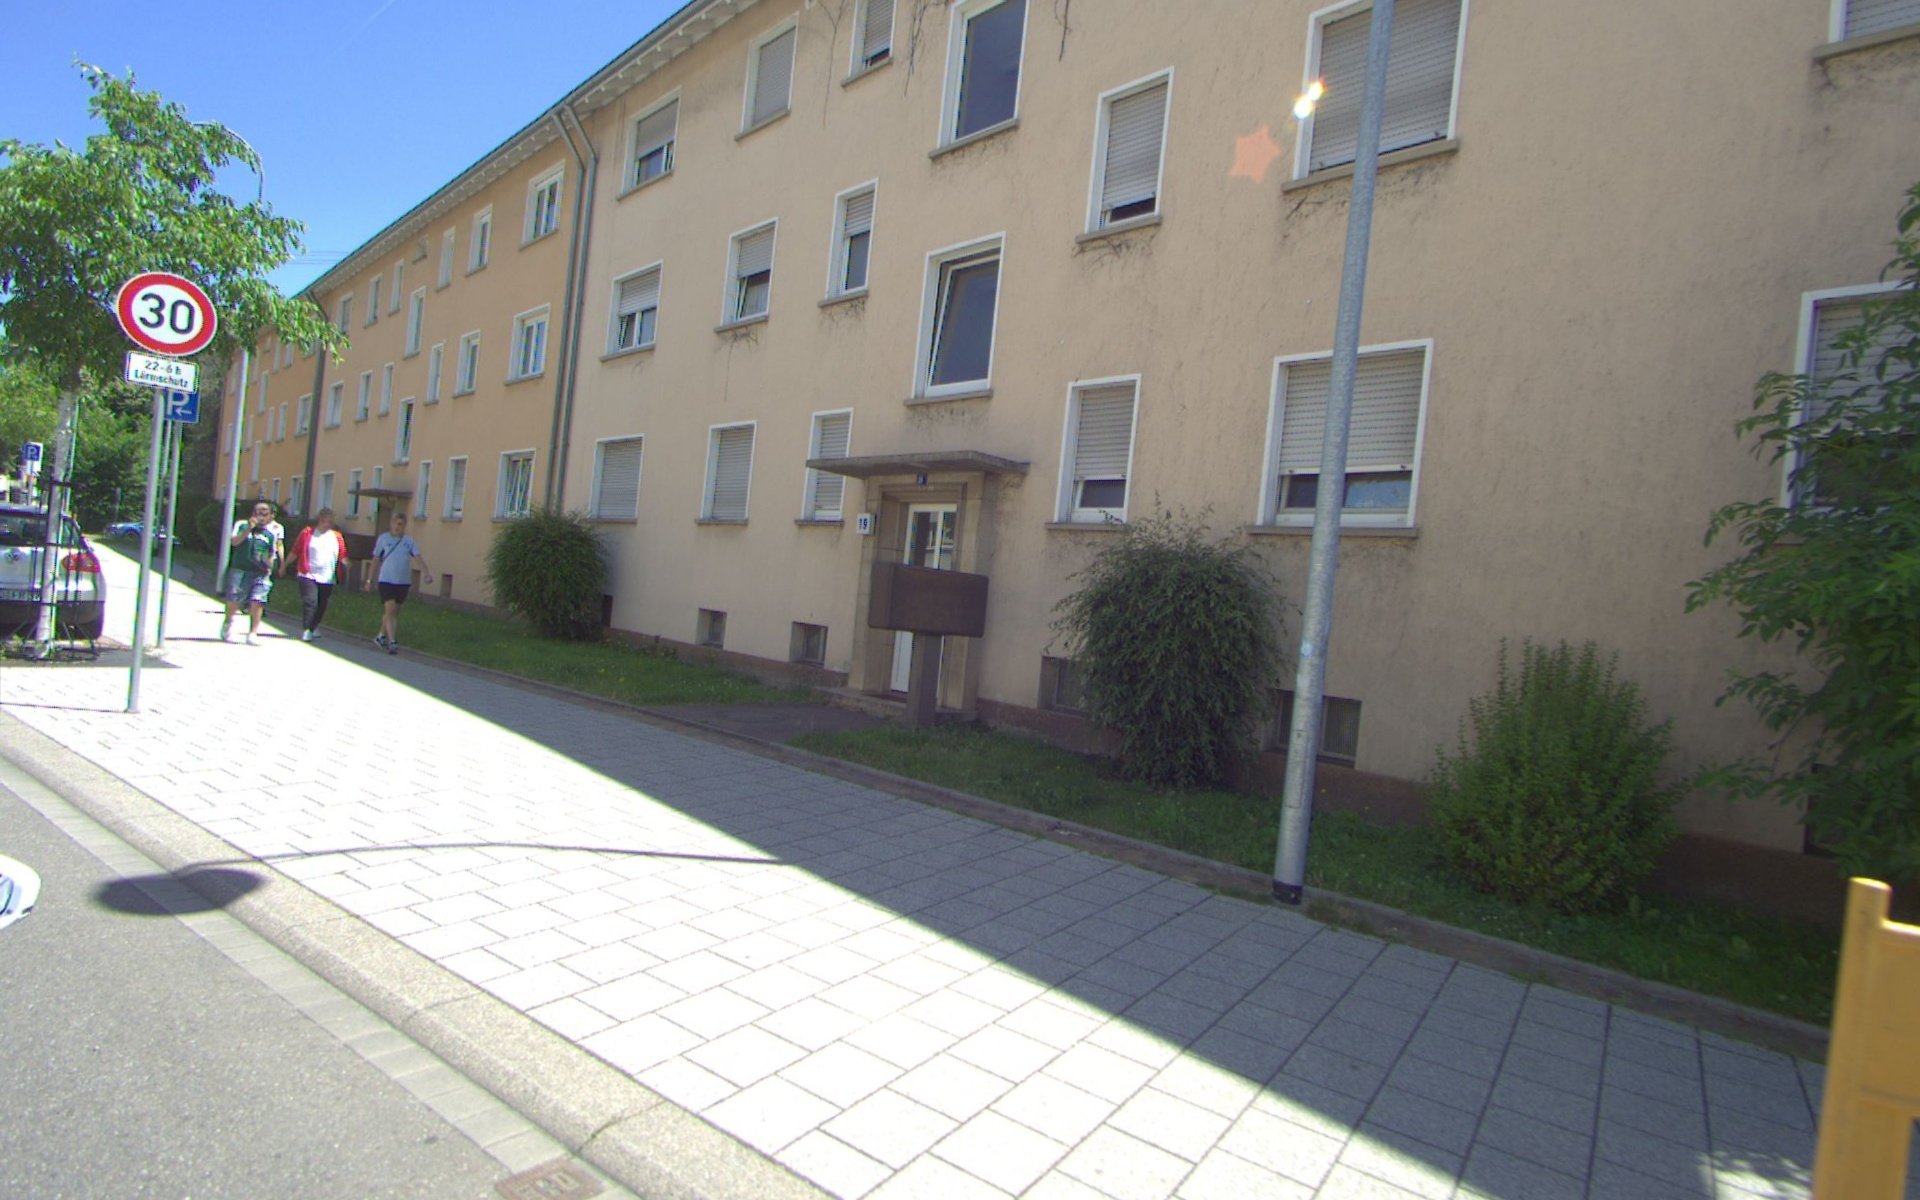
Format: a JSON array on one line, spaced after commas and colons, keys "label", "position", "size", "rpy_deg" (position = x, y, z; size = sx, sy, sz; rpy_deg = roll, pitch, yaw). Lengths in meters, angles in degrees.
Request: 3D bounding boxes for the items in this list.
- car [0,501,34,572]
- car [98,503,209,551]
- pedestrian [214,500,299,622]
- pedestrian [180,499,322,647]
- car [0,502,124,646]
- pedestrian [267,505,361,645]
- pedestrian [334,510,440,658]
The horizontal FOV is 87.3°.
[{"label": "car", "position": [-23.181, -1.621, 23.677], "size": [1.827, 1.524, 4.999], "rpy_deg": [4, 1, -45]}, {"label": "car", "position": [-44.144, -3.967, 55.132], "size": [1.724, 1.859, 4.340], "rpy_deg": [6, -3, 37]}, {"label": "pedestrian", "position": [-11.582, -0.645, 16.560], "size": [0.971, 1.876, 0.819], "rpy_deg": [6, 0, 41]}, {"label": "pedestrian", "position": [-8.985, -0.332, 12.754], "size": [1.175, 1.756, 1.168], "rpy_deg": [5, 2, 40]}, {"label": "car", "position": [-11.747, -0.419, 12.154], "size": [4.445, 1.495, 1.810], "rpy_deg": [5, 0, 41]}, {"label": "pedestrian", "position": [-8.951, -0.352, 13.936], "size": [0.992, 1.835, 0.786], "rpy_deg": [6, 3, 41]}, {"label": "pedestrian", "position": [-7.499, -0.211, 13.173], "size": [0.995, 1.801, 0.792], "rpy_deg": [6, 1, 41]}]
